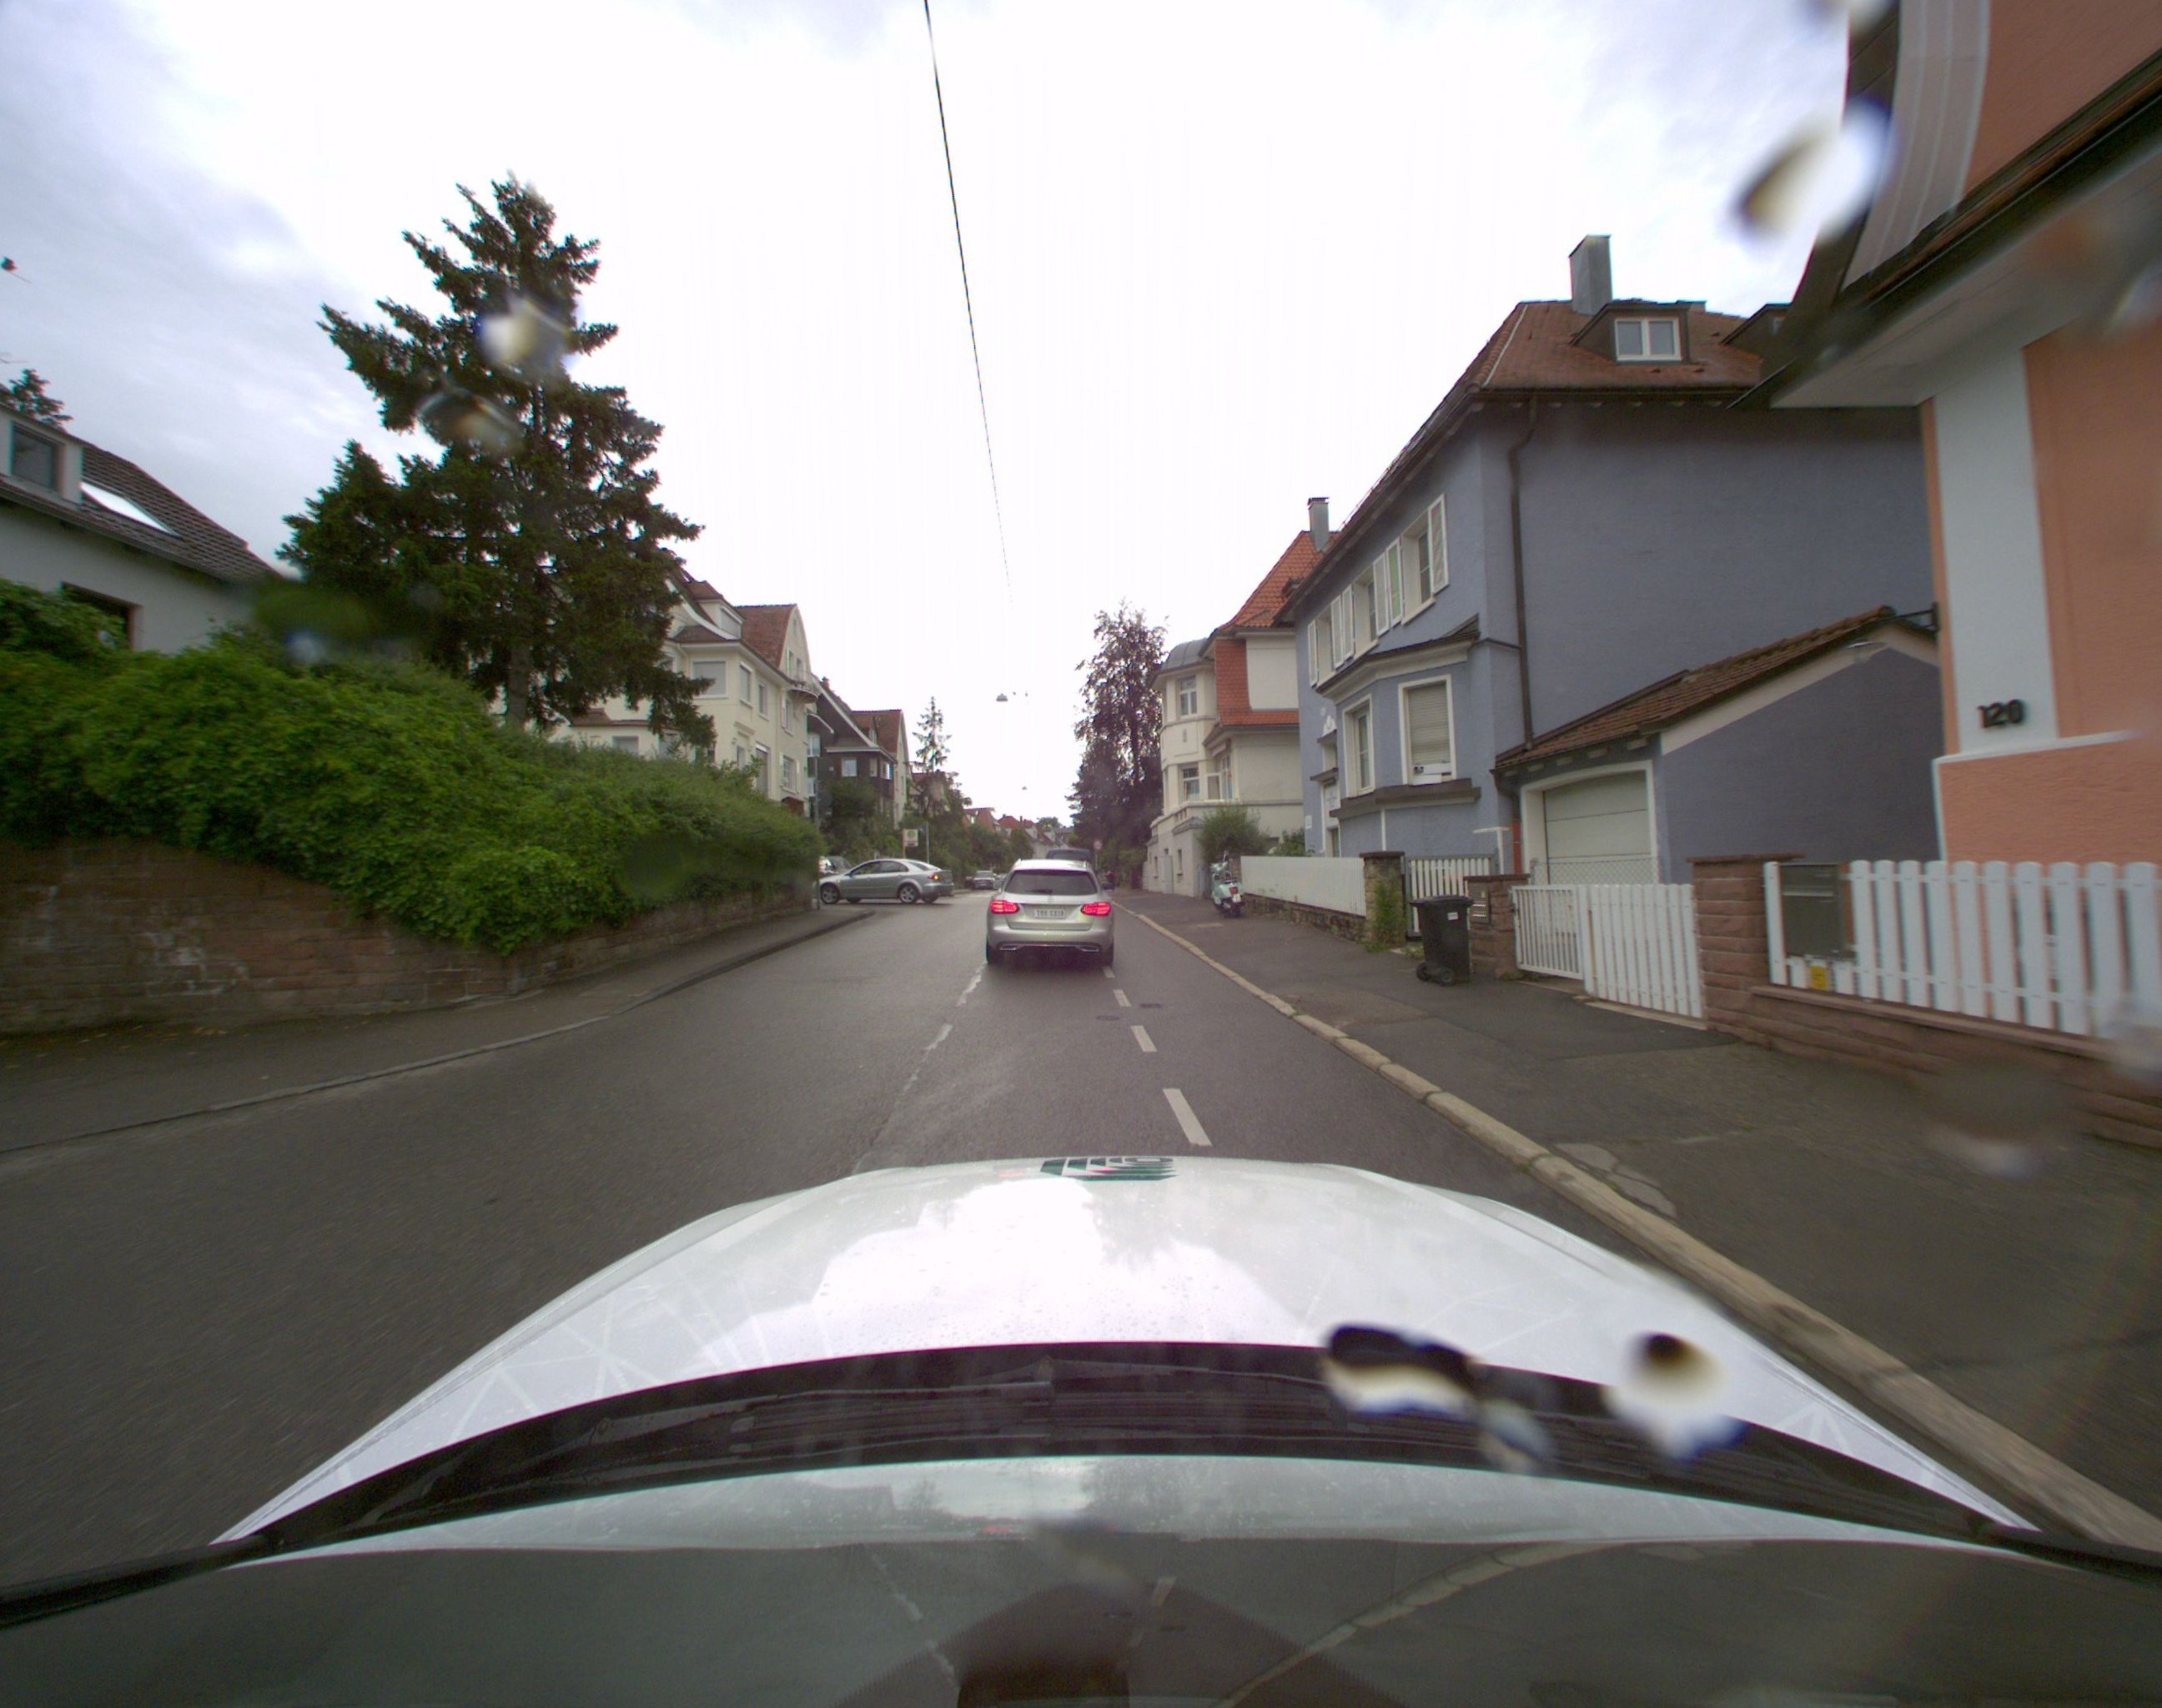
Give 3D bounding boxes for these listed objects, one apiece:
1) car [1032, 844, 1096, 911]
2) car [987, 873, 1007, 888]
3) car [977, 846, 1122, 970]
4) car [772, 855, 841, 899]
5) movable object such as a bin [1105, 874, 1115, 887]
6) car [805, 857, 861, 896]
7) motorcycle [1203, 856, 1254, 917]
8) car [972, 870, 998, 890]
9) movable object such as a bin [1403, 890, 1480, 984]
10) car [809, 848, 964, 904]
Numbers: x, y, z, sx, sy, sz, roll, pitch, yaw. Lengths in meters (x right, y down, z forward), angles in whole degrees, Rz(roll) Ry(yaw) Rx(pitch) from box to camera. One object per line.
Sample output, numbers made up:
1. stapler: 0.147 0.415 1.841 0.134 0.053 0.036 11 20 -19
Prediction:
1. car: -0.460 0.774 25.446 1.836 1.904 3.999 0 -3 0
2. car: -8.383 2.637 81.587 1.752 1.447 4.411 -1 0 -3
3. car: -0.463 0.698 12.257 1.812 1.556 3.996 0 -1 -2
4. car: -10.863 0.865 32.477 1.764 1.618 3.990 -1 0 -7
5. movable object such as a bin: 1.992 1.804 55.916 0.650 0.856 0.502 -1 -1 -5
6. car: -11.526 1.017 38.087 1.764 1.696 3.990 -1 0 -7
7. motorcycle: 3.325 0.712 18.570 0.690 1.226 2.154 -7 -1 2
8. car: -7.846 2.132 66.925 1.889 1.623 4.373 -1 -2 -3
9. movable object such as a bin: 3.841 0.867 8.704 0.531 0.918 0.487 -4 0 -5
10. car: -6.133 0.674 25.887 4.336 1.556 1.828 2 -1 12
